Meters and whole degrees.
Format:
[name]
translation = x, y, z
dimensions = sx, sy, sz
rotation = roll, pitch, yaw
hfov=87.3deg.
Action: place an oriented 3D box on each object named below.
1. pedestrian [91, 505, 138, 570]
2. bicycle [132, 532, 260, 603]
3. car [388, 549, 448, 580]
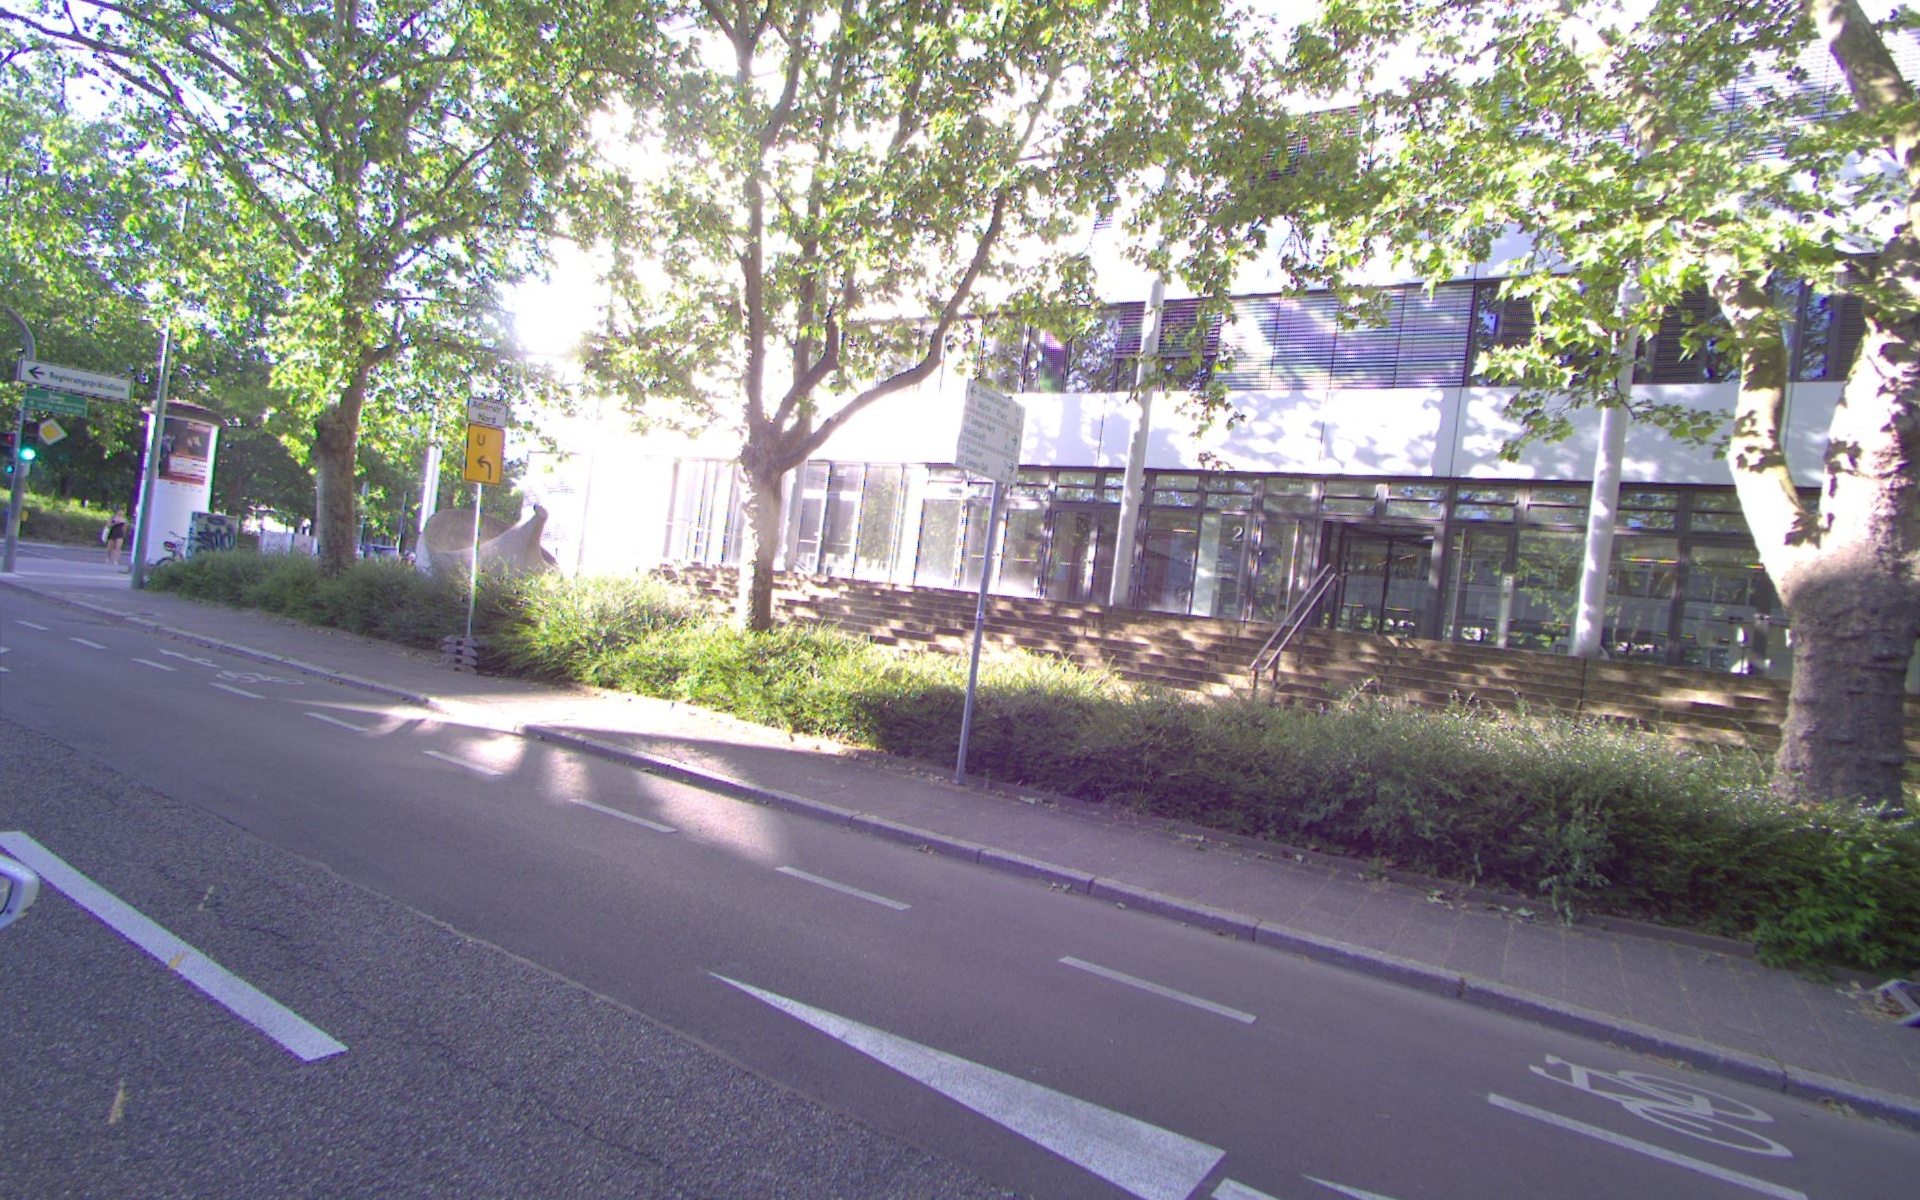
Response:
[pedestrian]
translation = -23.375, -1.729, 27.808
dimensions = 0.796, 1.649, 0.896
rotation = 8, -1, -43
[bicycle]
translation = -15.939, -0.655, 21.058
dimensions = 0.519, 1.203, 1.980
rotation = 7, -2, 30
[car]
translation = -35.563, -2.328, 65.972
dimensions = 3.732, 1.500, 1.633
rotation = 6, -2, 31
